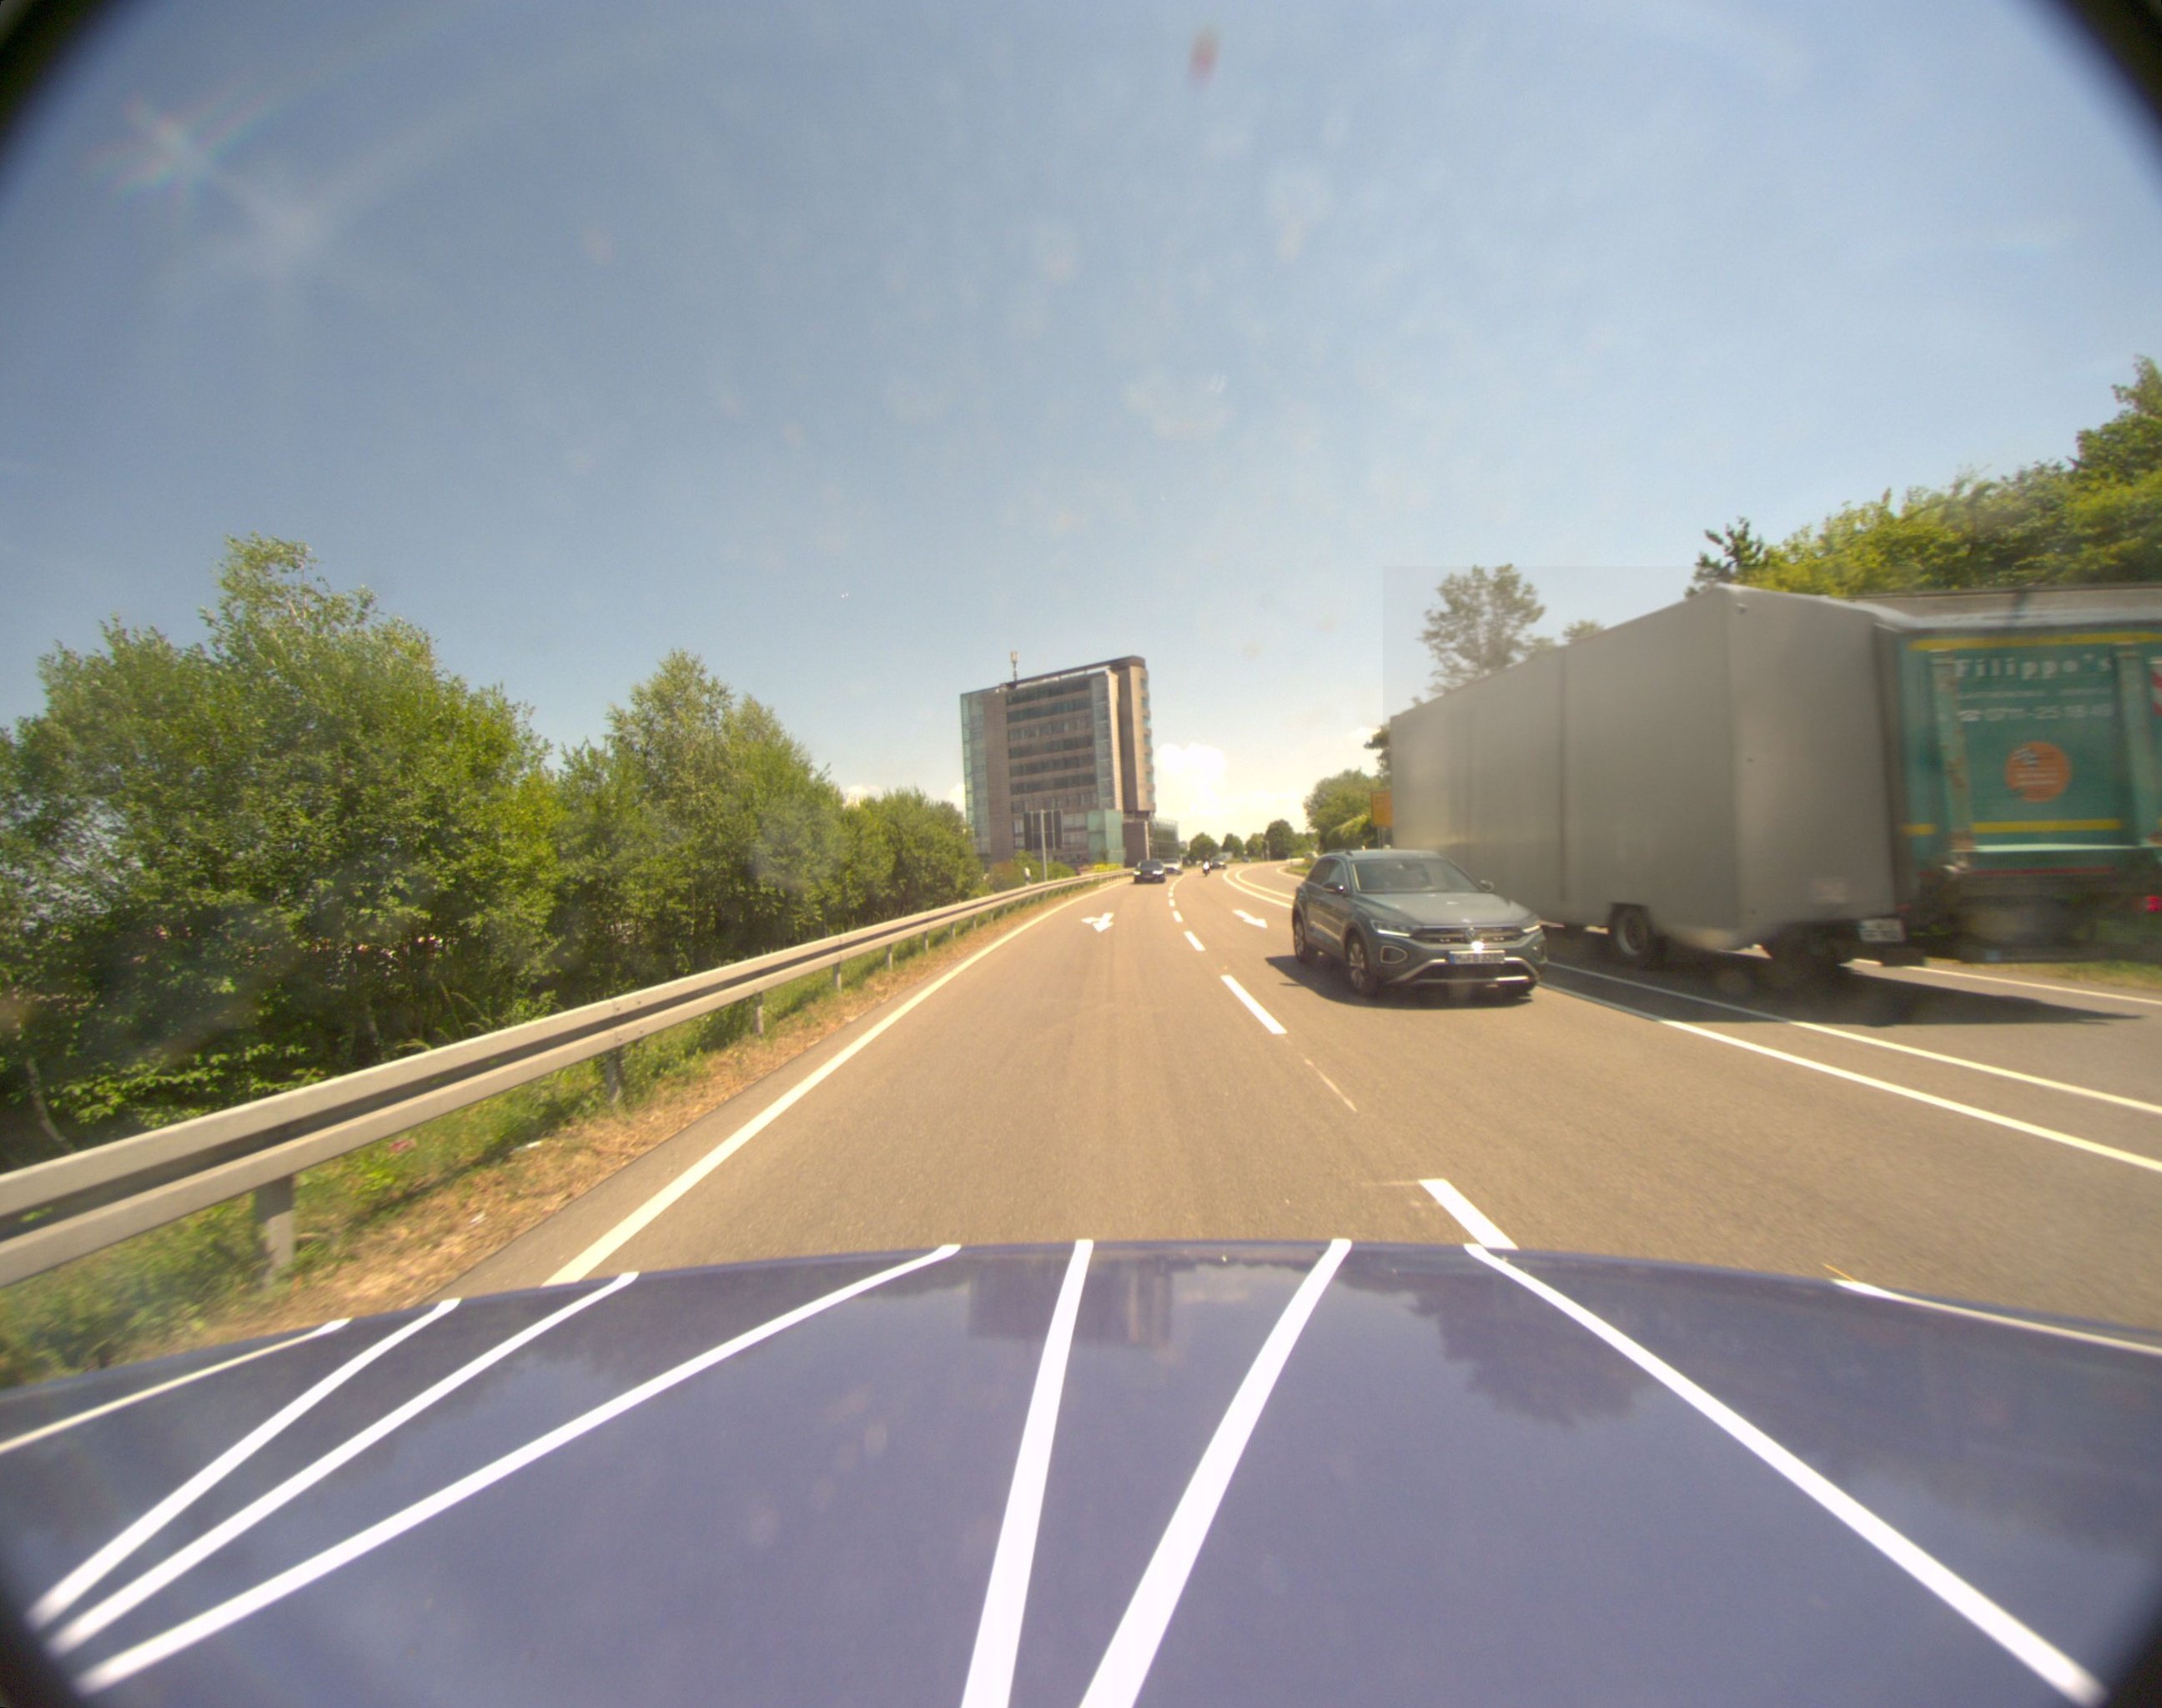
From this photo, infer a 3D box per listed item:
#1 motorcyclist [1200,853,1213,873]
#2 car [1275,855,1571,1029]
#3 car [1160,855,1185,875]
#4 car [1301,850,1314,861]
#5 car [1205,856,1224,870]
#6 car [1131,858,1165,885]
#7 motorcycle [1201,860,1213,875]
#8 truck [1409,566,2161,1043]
[{"bbox_3d":[9.568,0.692,57.866,0.860,1.479,1.162,-1,0,5],"label":"motorcyclist"},{"bbox_3d":[3.694,0.830,9.186,1.838,1.577,4.392,-1,0,4],"label":"car"},{"bbox_3d":[8.112,0.994,66.997,1.932,1.576,4.184,-5,-3,9],"label":"car"},{"bbox_3d":[36.582,0.210,122.617,1.996,1.619,4.202,-2,0,17],"label":"car"},{"bbox_3d":[15.475,1.025,88.057,2.116,1.581,4.454,-2,0,10],"label":"car"},{"bbox_3d":[4.151,1.051,46.736,1.778,1.497,4.564,-2,-1,8],"label":"car"},{"bbox_3d":[9.568,0.994,57.897,0.734,1.131,2.073,-1,-1,5],"label":"motorcycle"},{"bbox_3d":[7.870,-0.354,10.446,2.876,3.553,9.432,-2,0,2],"label":"truck"}]
